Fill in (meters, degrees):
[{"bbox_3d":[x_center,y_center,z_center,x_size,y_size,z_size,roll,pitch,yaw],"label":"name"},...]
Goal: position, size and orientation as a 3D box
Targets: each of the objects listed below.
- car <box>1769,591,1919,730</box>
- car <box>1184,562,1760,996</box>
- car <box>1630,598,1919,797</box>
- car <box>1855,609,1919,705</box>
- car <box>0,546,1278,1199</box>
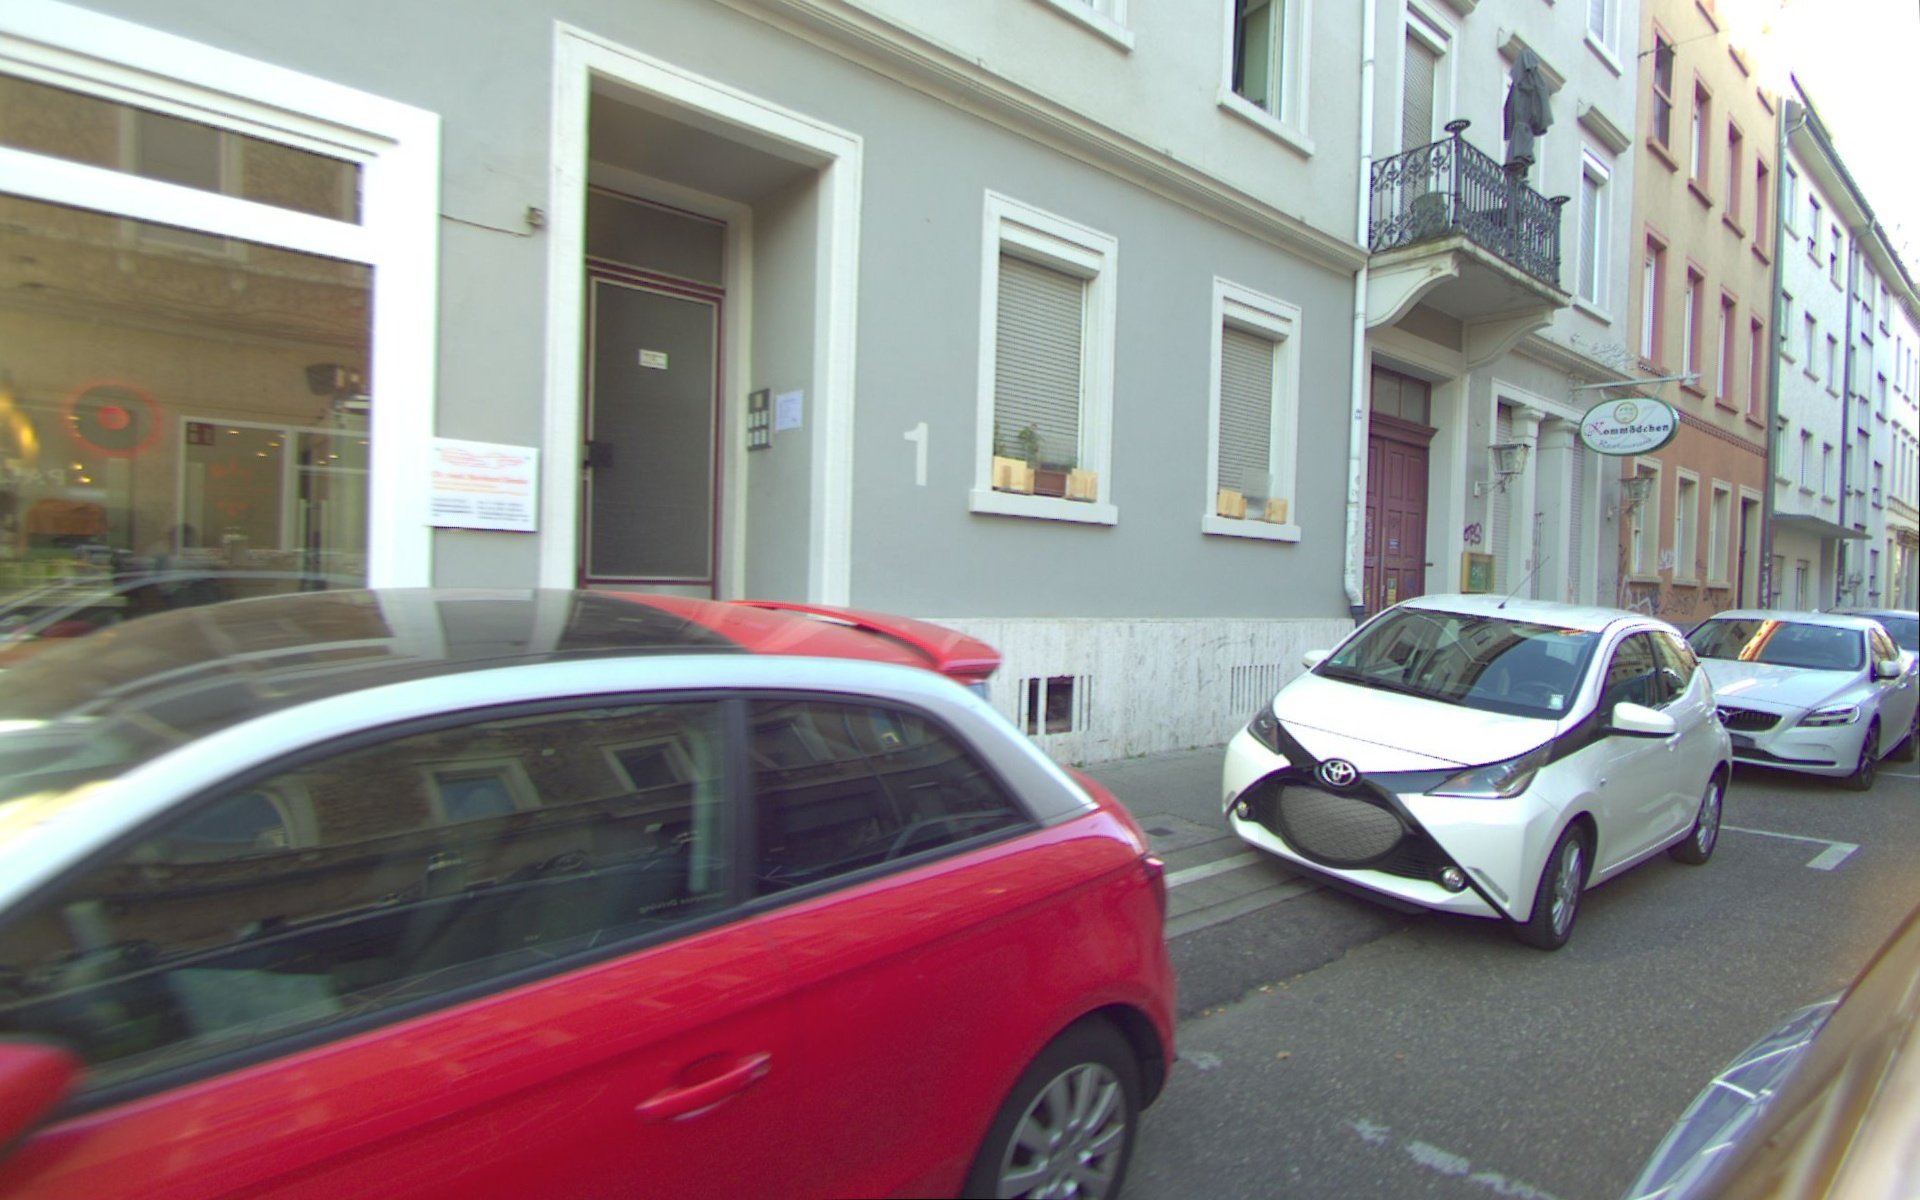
[{"bbox_3d":[12.441,0.721,13.516,4.113,1.617,1.683,1,0,-38],"label":"car"},{"bbox_3d":[3.026,0.670,5.620,3.723,1.607,1.638,1,0,-42],"label":"car"},{"bbox_3d":[8.103,0.764,9.802,4.117,1.529,1.682,1,0,-41],"label":"car"},{"bbox_3d":[16.047,0.873,16.418,4.416,1.412,1.770,1,0,-41],"label":"car"},{"bbox_3d":[-1.192,0.706,1.840,3.887,1.522,1.647,1,0,-42],"label":"car"}]
